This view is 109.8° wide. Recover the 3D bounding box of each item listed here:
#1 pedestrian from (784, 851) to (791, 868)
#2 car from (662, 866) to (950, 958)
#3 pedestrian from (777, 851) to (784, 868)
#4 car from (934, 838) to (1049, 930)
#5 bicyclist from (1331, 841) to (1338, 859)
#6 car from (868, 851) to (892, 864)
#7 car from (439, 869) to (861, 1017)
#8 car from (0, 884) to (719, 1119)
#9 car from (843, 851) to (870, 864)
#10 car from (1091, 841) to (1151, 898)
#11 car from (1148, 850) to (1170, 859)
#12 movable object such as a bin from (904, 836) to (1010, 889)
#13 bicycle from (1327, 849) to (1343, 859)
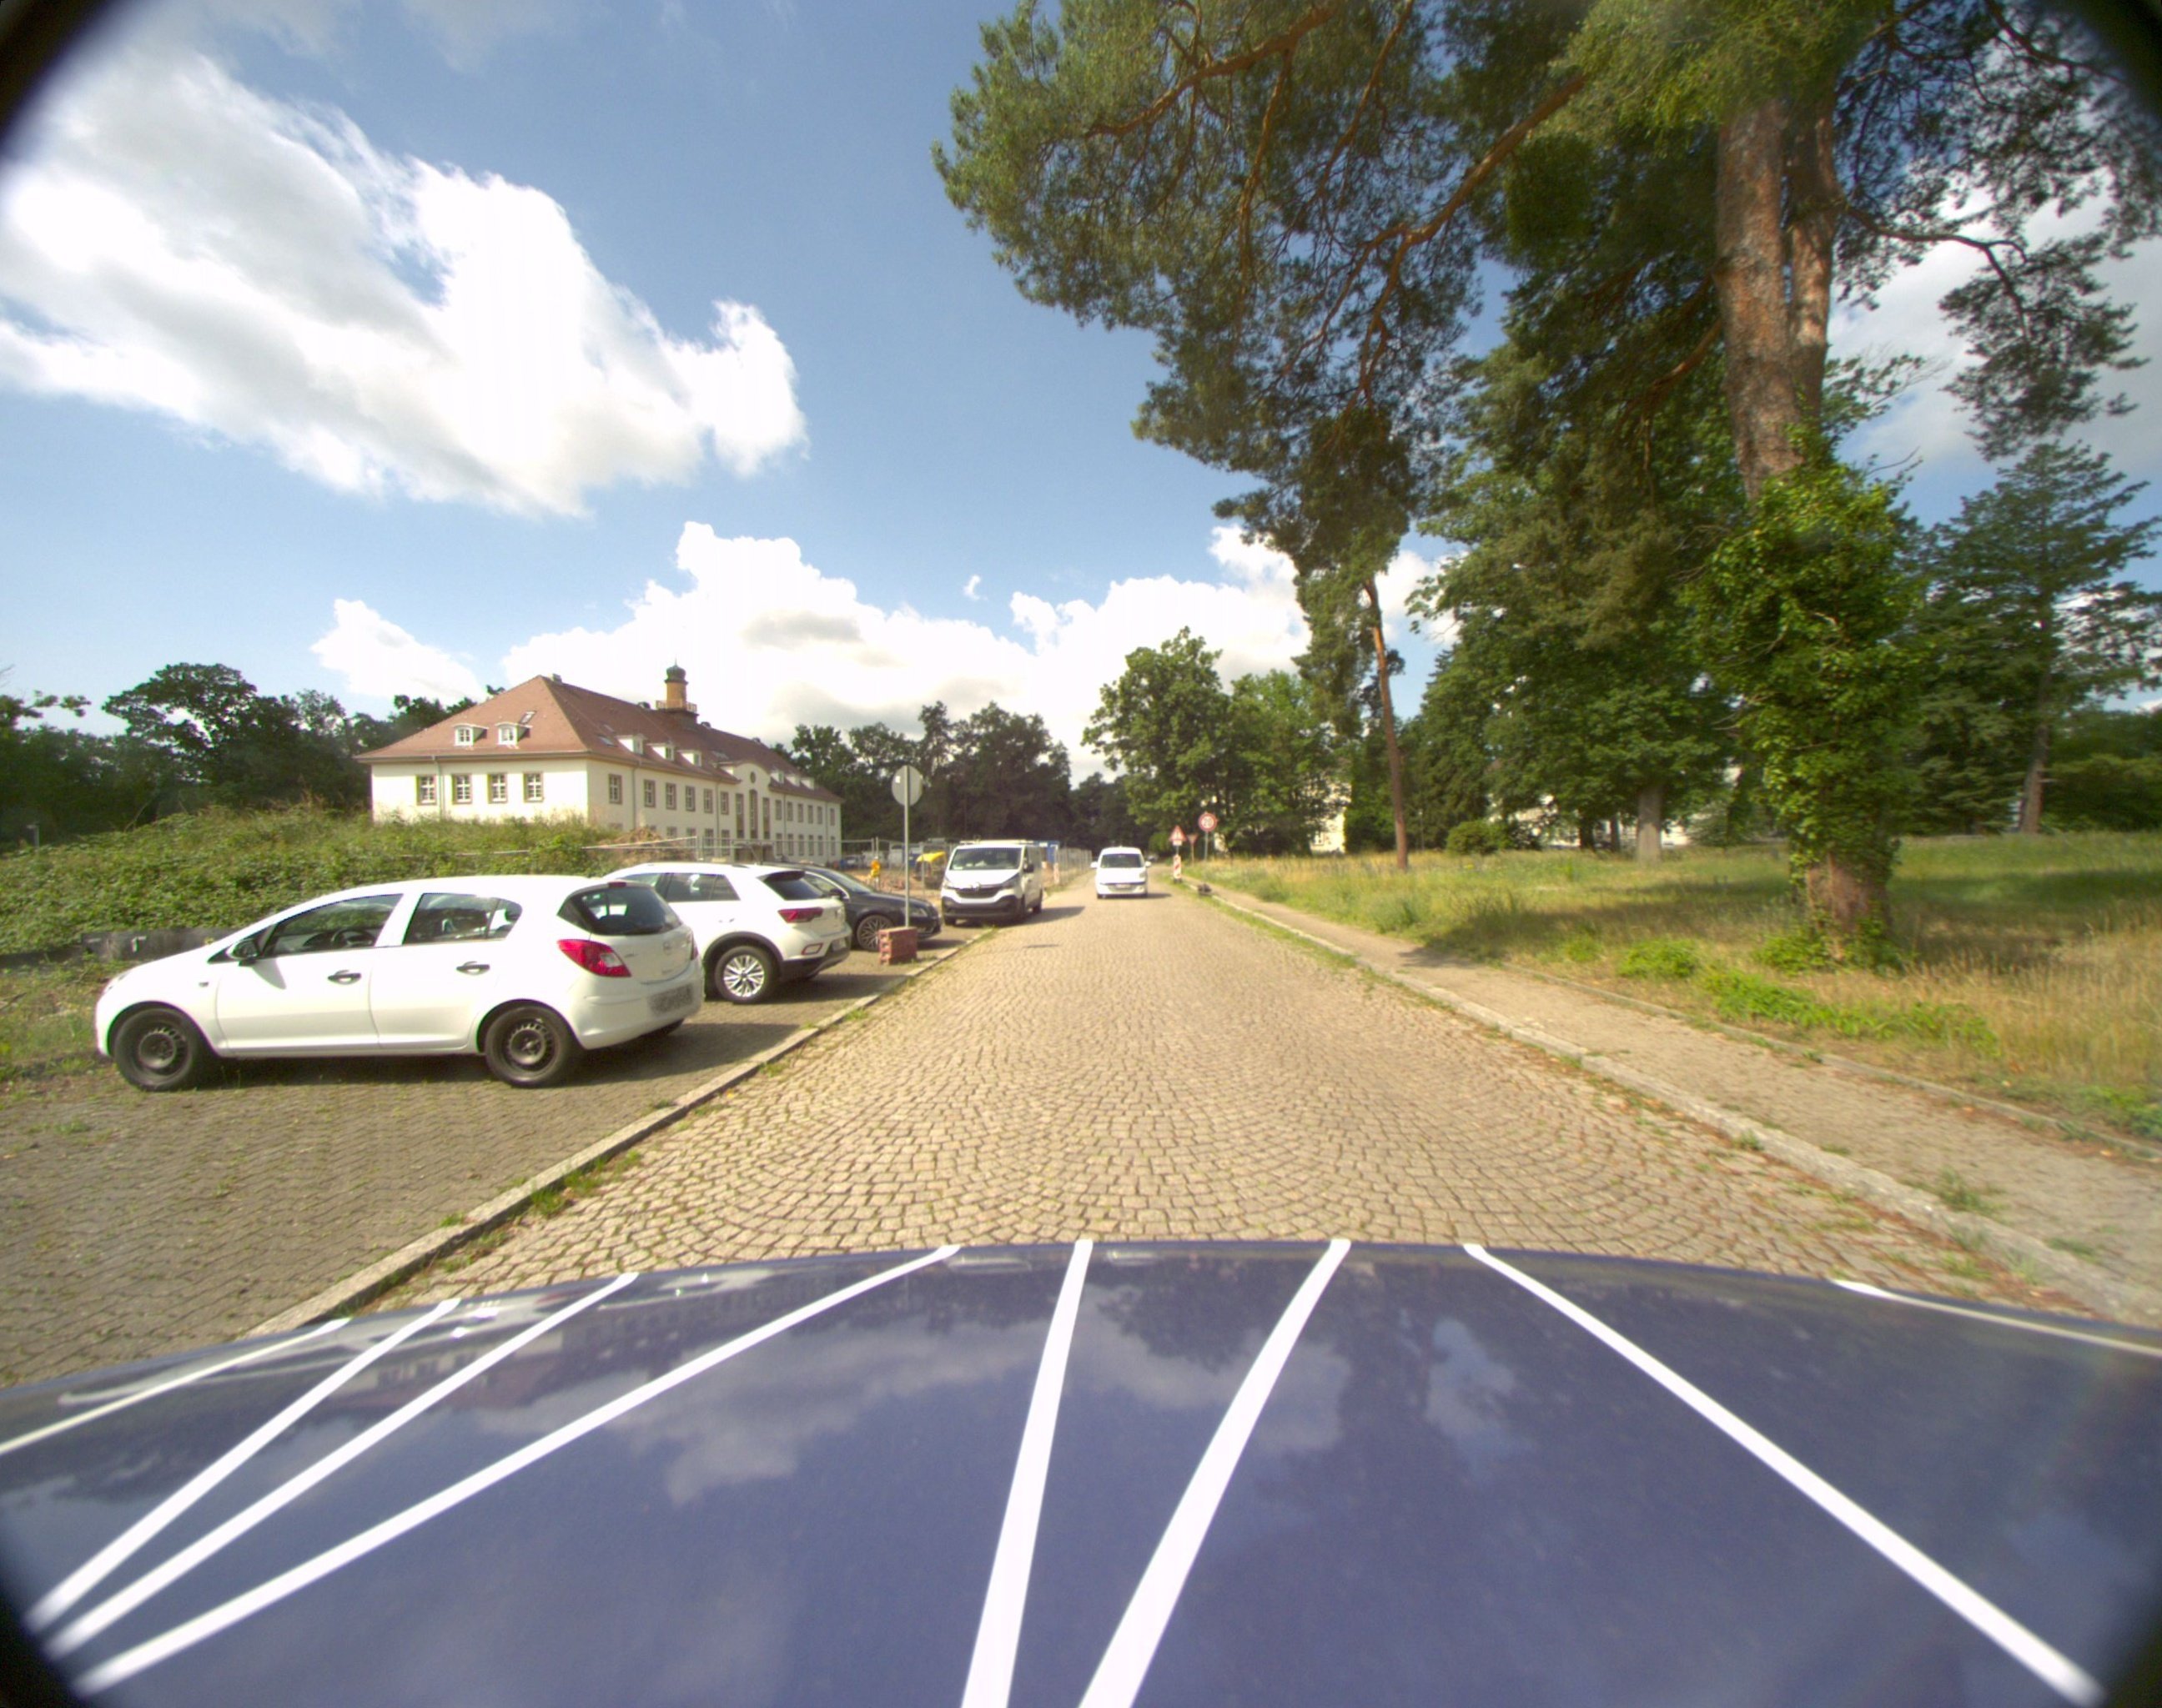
[{"bbox_3d":[-32.276,0.600,83.533,0.491,1.777,0.507,-1,1,0],"label":"pedestrian"},{"bbox_3d":[-4.714,0.980,13.505,4.465,1.466,1.745,1,1,-1],"label":"car"},{"bbox_3d":[-32.452,0.614,82.083,0.490,1.777,0.507,-1,1,25],"label":"pedestrian"},{"bbox_3d":[-2.115,0.645,19.697,1.918,2.041,5.679,-1,1,4],"label":"car"},{"bbox_3d":[25.913,-0.397,77.563,0.570,1.760,0.635,-1,1,14],"label":"bicyclist"},{"bbox_3d":[-26.818,0.481,101.425,1.802,1.674,4.040,-1,1,4],"label":"car"},{"bbox_3d":[-4.856,0.969,8.987,3.997,1.498,1.746,1,1,0],"label":"car"},{"bbox_3d":[-5.272,1.022,5.945,4.052,1.455,1.704,1,1,0],"label":"car"},{"bbox_3d":[-29.991,0.451,101.484,1.884,1.718,4.709,-1,1,4],"label":"car"},{"bbox_3d":[1.360,0.558,27.678,1.839,1.857,4.830,-1,-1,-1],"label":"car"},{"bbox_3d":[15.151,0.090,147.261,4.083,1.634,1.767,-1,1,2],"label":"car"},{"bbox_3d":[-6.164,0.415,38.610,2.143,2.507,5.668,0,0,31],"label":"movable object such as a bin"},{"bbox_3d":[25.924,-0.012,77.563,1.555,0.990,0.635,-1,1,13],"label":"bicycle"}]
